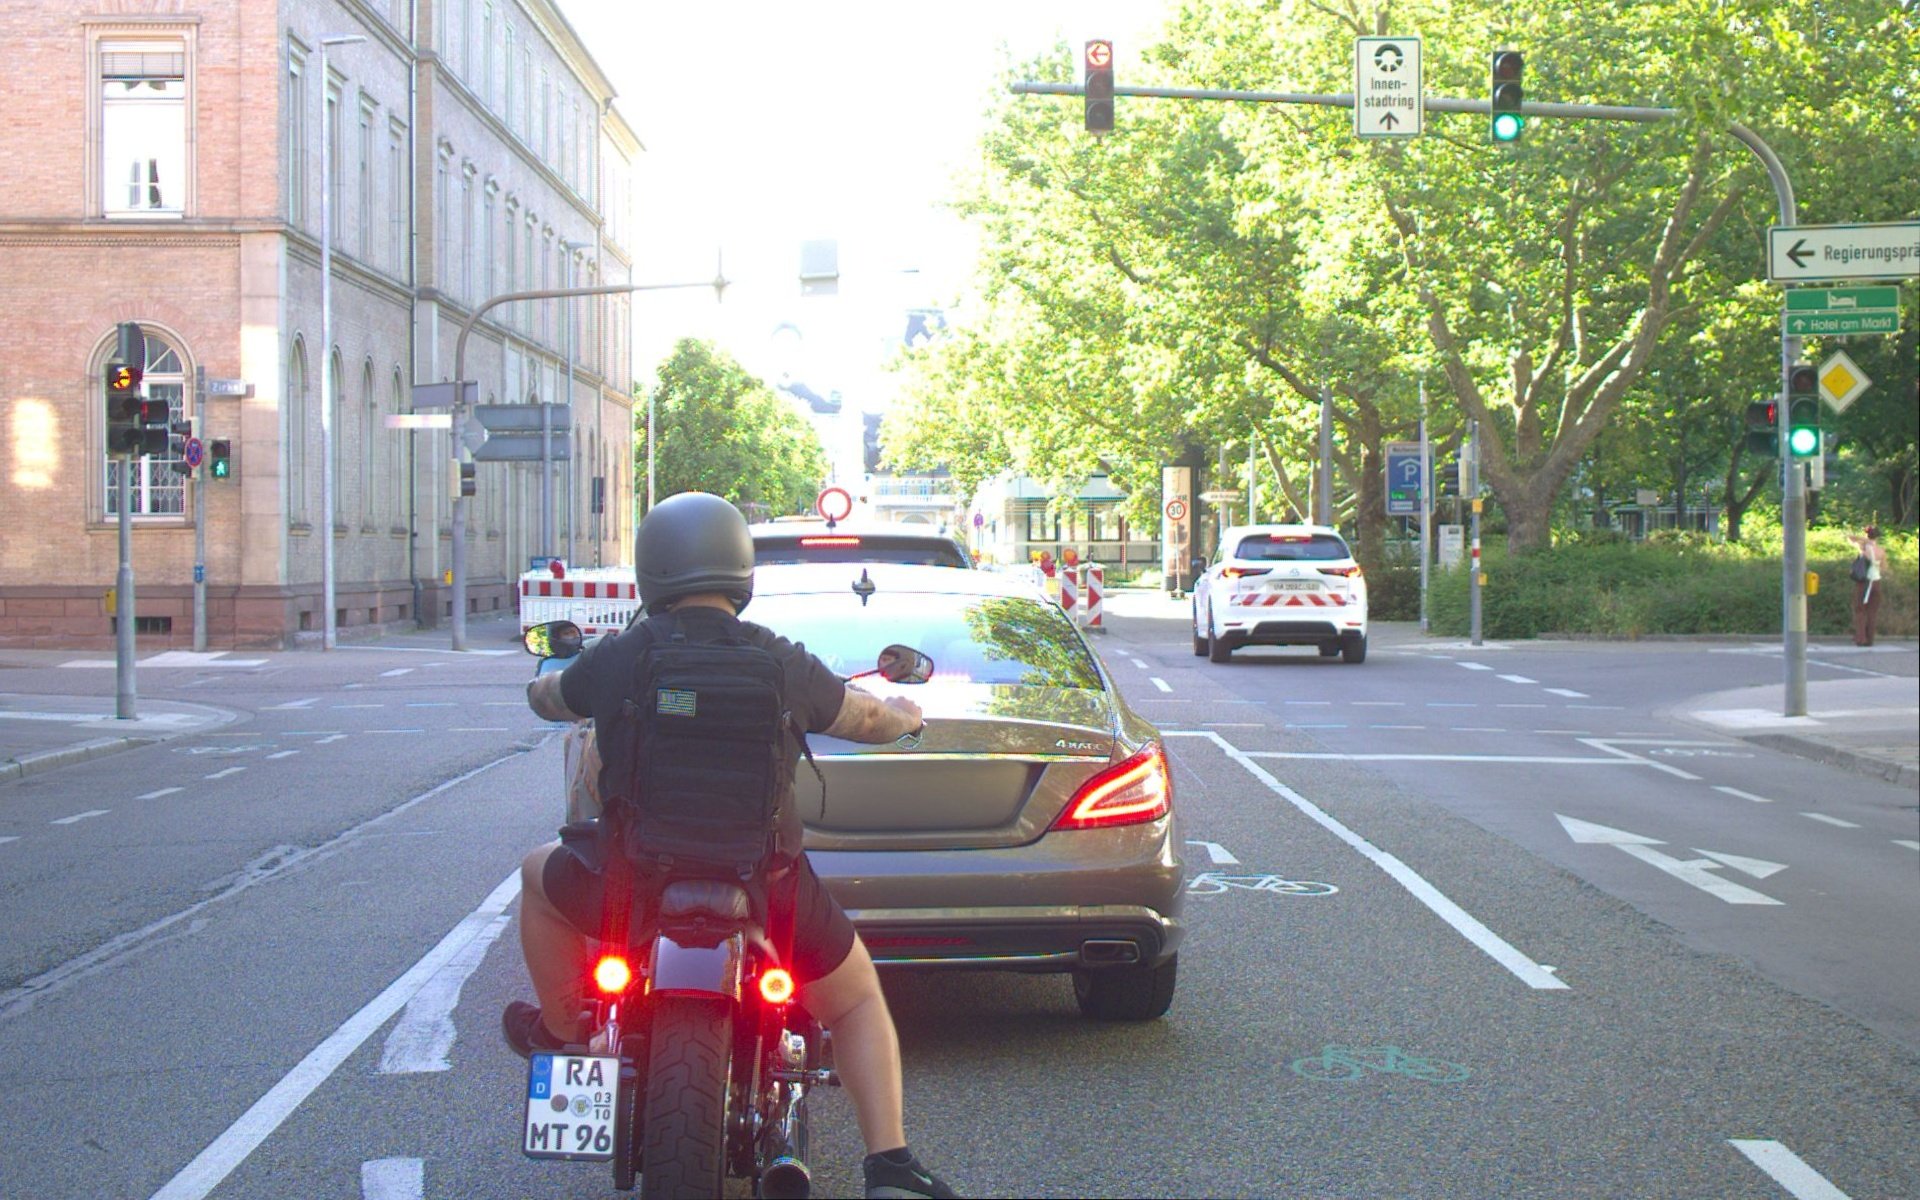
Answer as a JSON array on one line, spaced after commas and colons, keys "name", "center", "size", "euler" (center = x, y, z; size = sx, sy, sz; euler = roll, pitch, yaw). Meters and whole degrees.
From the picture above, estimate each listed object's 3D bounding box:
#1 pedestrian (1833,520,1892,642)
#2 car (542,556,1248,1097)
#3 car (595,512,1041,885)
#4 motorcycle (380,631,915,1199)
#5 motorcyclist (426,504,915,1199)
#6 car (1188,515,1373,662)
[{"name": "pedestrian", "center": [13.248, -0.280, 50.460], "size": [0.678, 1.766, 0.616], "euler": [1, 0, 29]}, {"name": "car", "center": [-0.430, 0.583, 11.625], "size": [1.869, 1.439, 4.431], "euler": [0, 1, -8]}, {"name": "car", "center": [-0.664, 0.426, 17.547], "size": [1.993, 1.660, 4.000], "euler": [1, 1, -1]}, {"name": "motorcycle", "center": [-0.592, 0.736, 7.555], "size": [0.980, 1.271, 2.407], "euler": [0, 1, -1]}, {"name": "motorcyclist", "center": [-0.591, 0.582, 7.561], "size": [0.980, 1.573, 1.248], "euler": [0, 1, -1]}, {"name": "car", "center": [3.959, -0.186, 43.149], "size": [1.943, 1.702, 4.483], "euler": [1, 1, 1]}]
